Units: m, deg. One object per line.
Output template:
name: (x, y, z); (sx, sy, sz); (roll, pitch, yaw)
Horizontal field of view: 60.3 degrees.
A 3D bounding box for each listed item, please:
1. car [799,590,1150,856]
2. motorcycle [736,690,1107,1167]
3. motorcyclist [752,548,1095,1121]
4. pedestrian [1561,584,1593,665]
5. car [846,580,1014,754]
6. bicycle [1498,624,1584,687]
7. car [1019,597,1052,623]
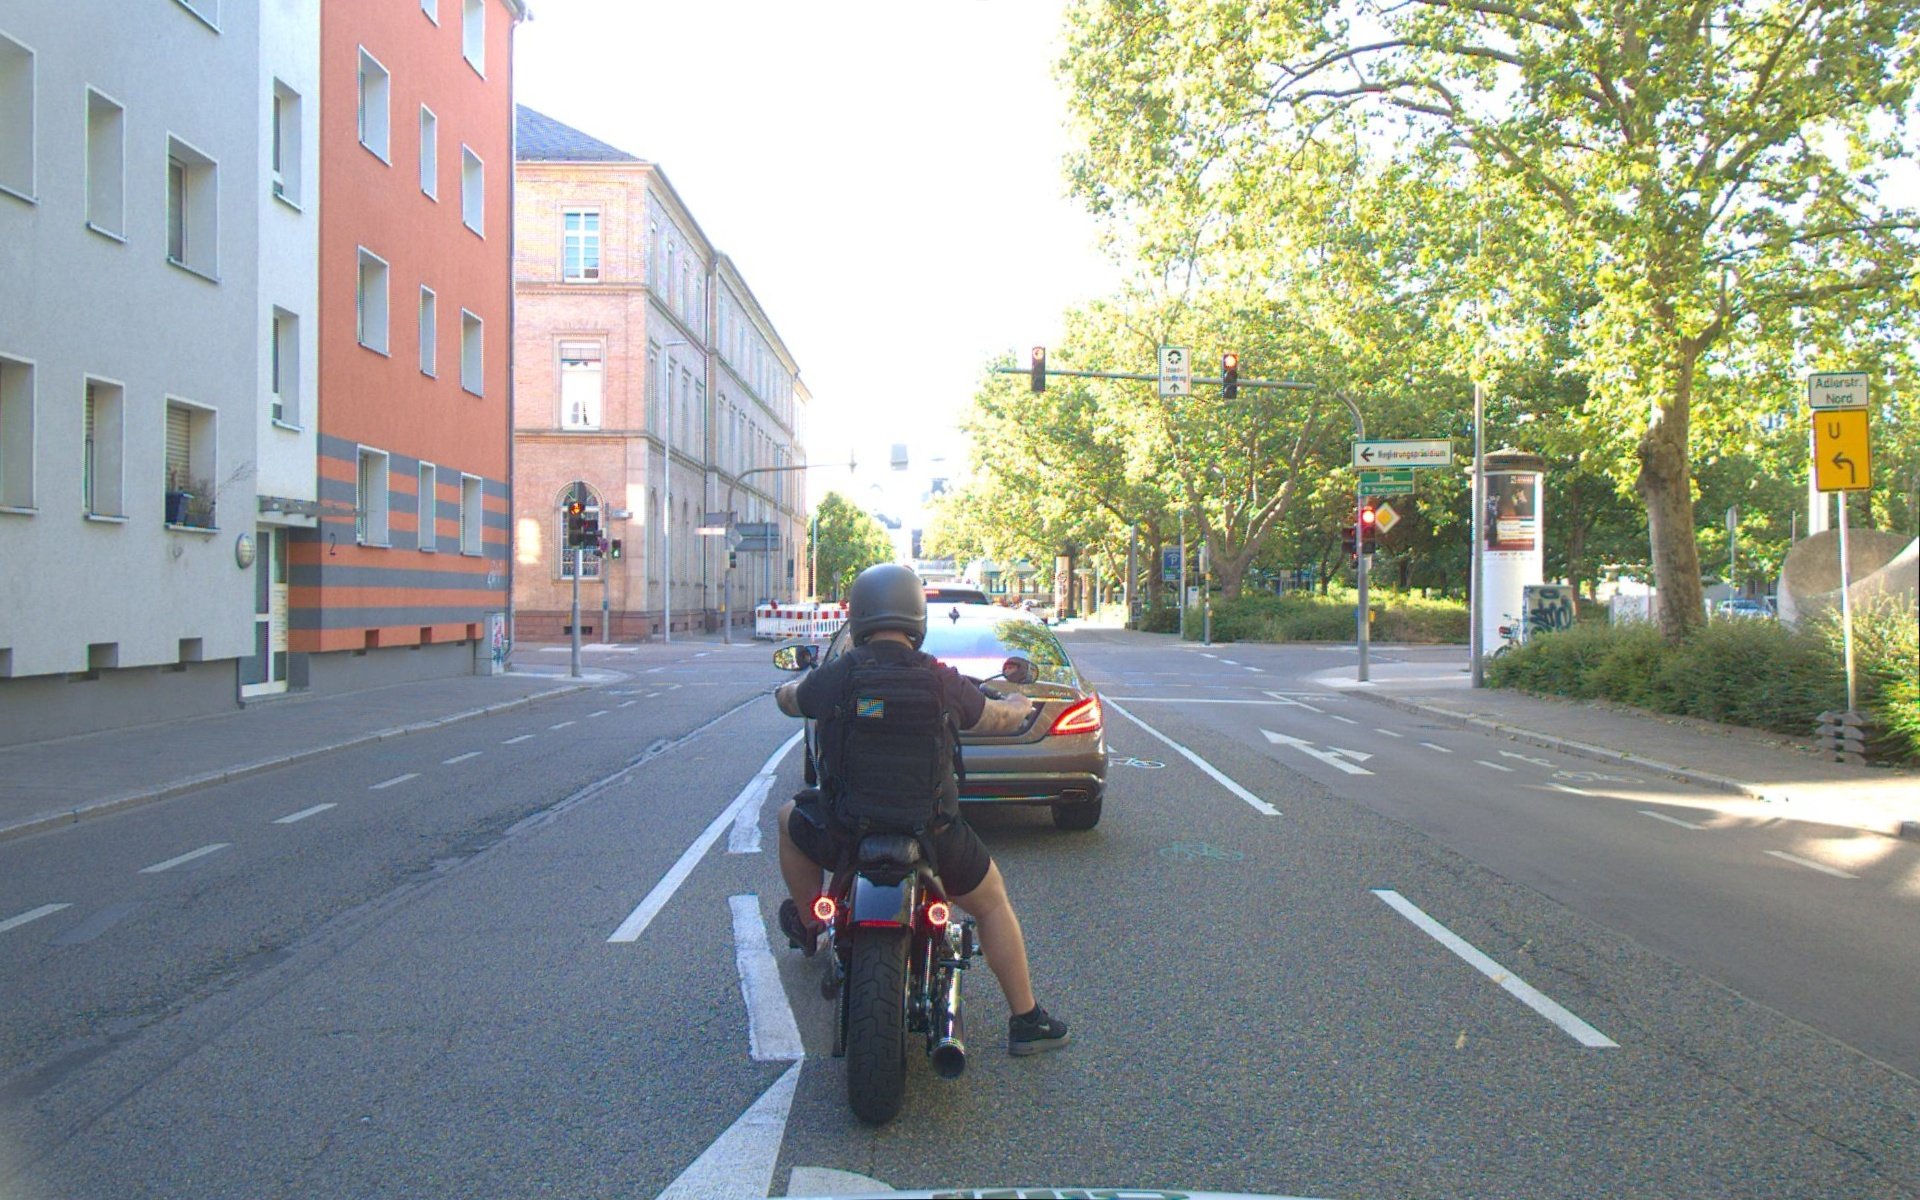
car: (-0.113, 0.684, 11.595); (1.909, 1.498, 4.355); (0, 0, -7)
motorcycle: (-0.117, 0.926, 5.555); (0.969, 1.097, 2.451); (0, 0, -1)
motorcyclist: (-0.112, 0.663, 5.401); (0.969, 1.625, 1.403); (0, 0, -1)
pedestrian: (14.498, 0.567, 38.880); (0.540, 1.881, 0.593); (0, 0, 0)
car: (-0.335, 0.619, 17.759); (1.580, 1.636, 4.327); (0, 0, -2)
bicycle: (9.733, 0.923, 27.729); (1.324, 1.041, 0.363); (0, 0, 0)
car: (4.483, 0.604, 98.966); (1.784, 1.506, 3.908); (-1, 0, 0)
